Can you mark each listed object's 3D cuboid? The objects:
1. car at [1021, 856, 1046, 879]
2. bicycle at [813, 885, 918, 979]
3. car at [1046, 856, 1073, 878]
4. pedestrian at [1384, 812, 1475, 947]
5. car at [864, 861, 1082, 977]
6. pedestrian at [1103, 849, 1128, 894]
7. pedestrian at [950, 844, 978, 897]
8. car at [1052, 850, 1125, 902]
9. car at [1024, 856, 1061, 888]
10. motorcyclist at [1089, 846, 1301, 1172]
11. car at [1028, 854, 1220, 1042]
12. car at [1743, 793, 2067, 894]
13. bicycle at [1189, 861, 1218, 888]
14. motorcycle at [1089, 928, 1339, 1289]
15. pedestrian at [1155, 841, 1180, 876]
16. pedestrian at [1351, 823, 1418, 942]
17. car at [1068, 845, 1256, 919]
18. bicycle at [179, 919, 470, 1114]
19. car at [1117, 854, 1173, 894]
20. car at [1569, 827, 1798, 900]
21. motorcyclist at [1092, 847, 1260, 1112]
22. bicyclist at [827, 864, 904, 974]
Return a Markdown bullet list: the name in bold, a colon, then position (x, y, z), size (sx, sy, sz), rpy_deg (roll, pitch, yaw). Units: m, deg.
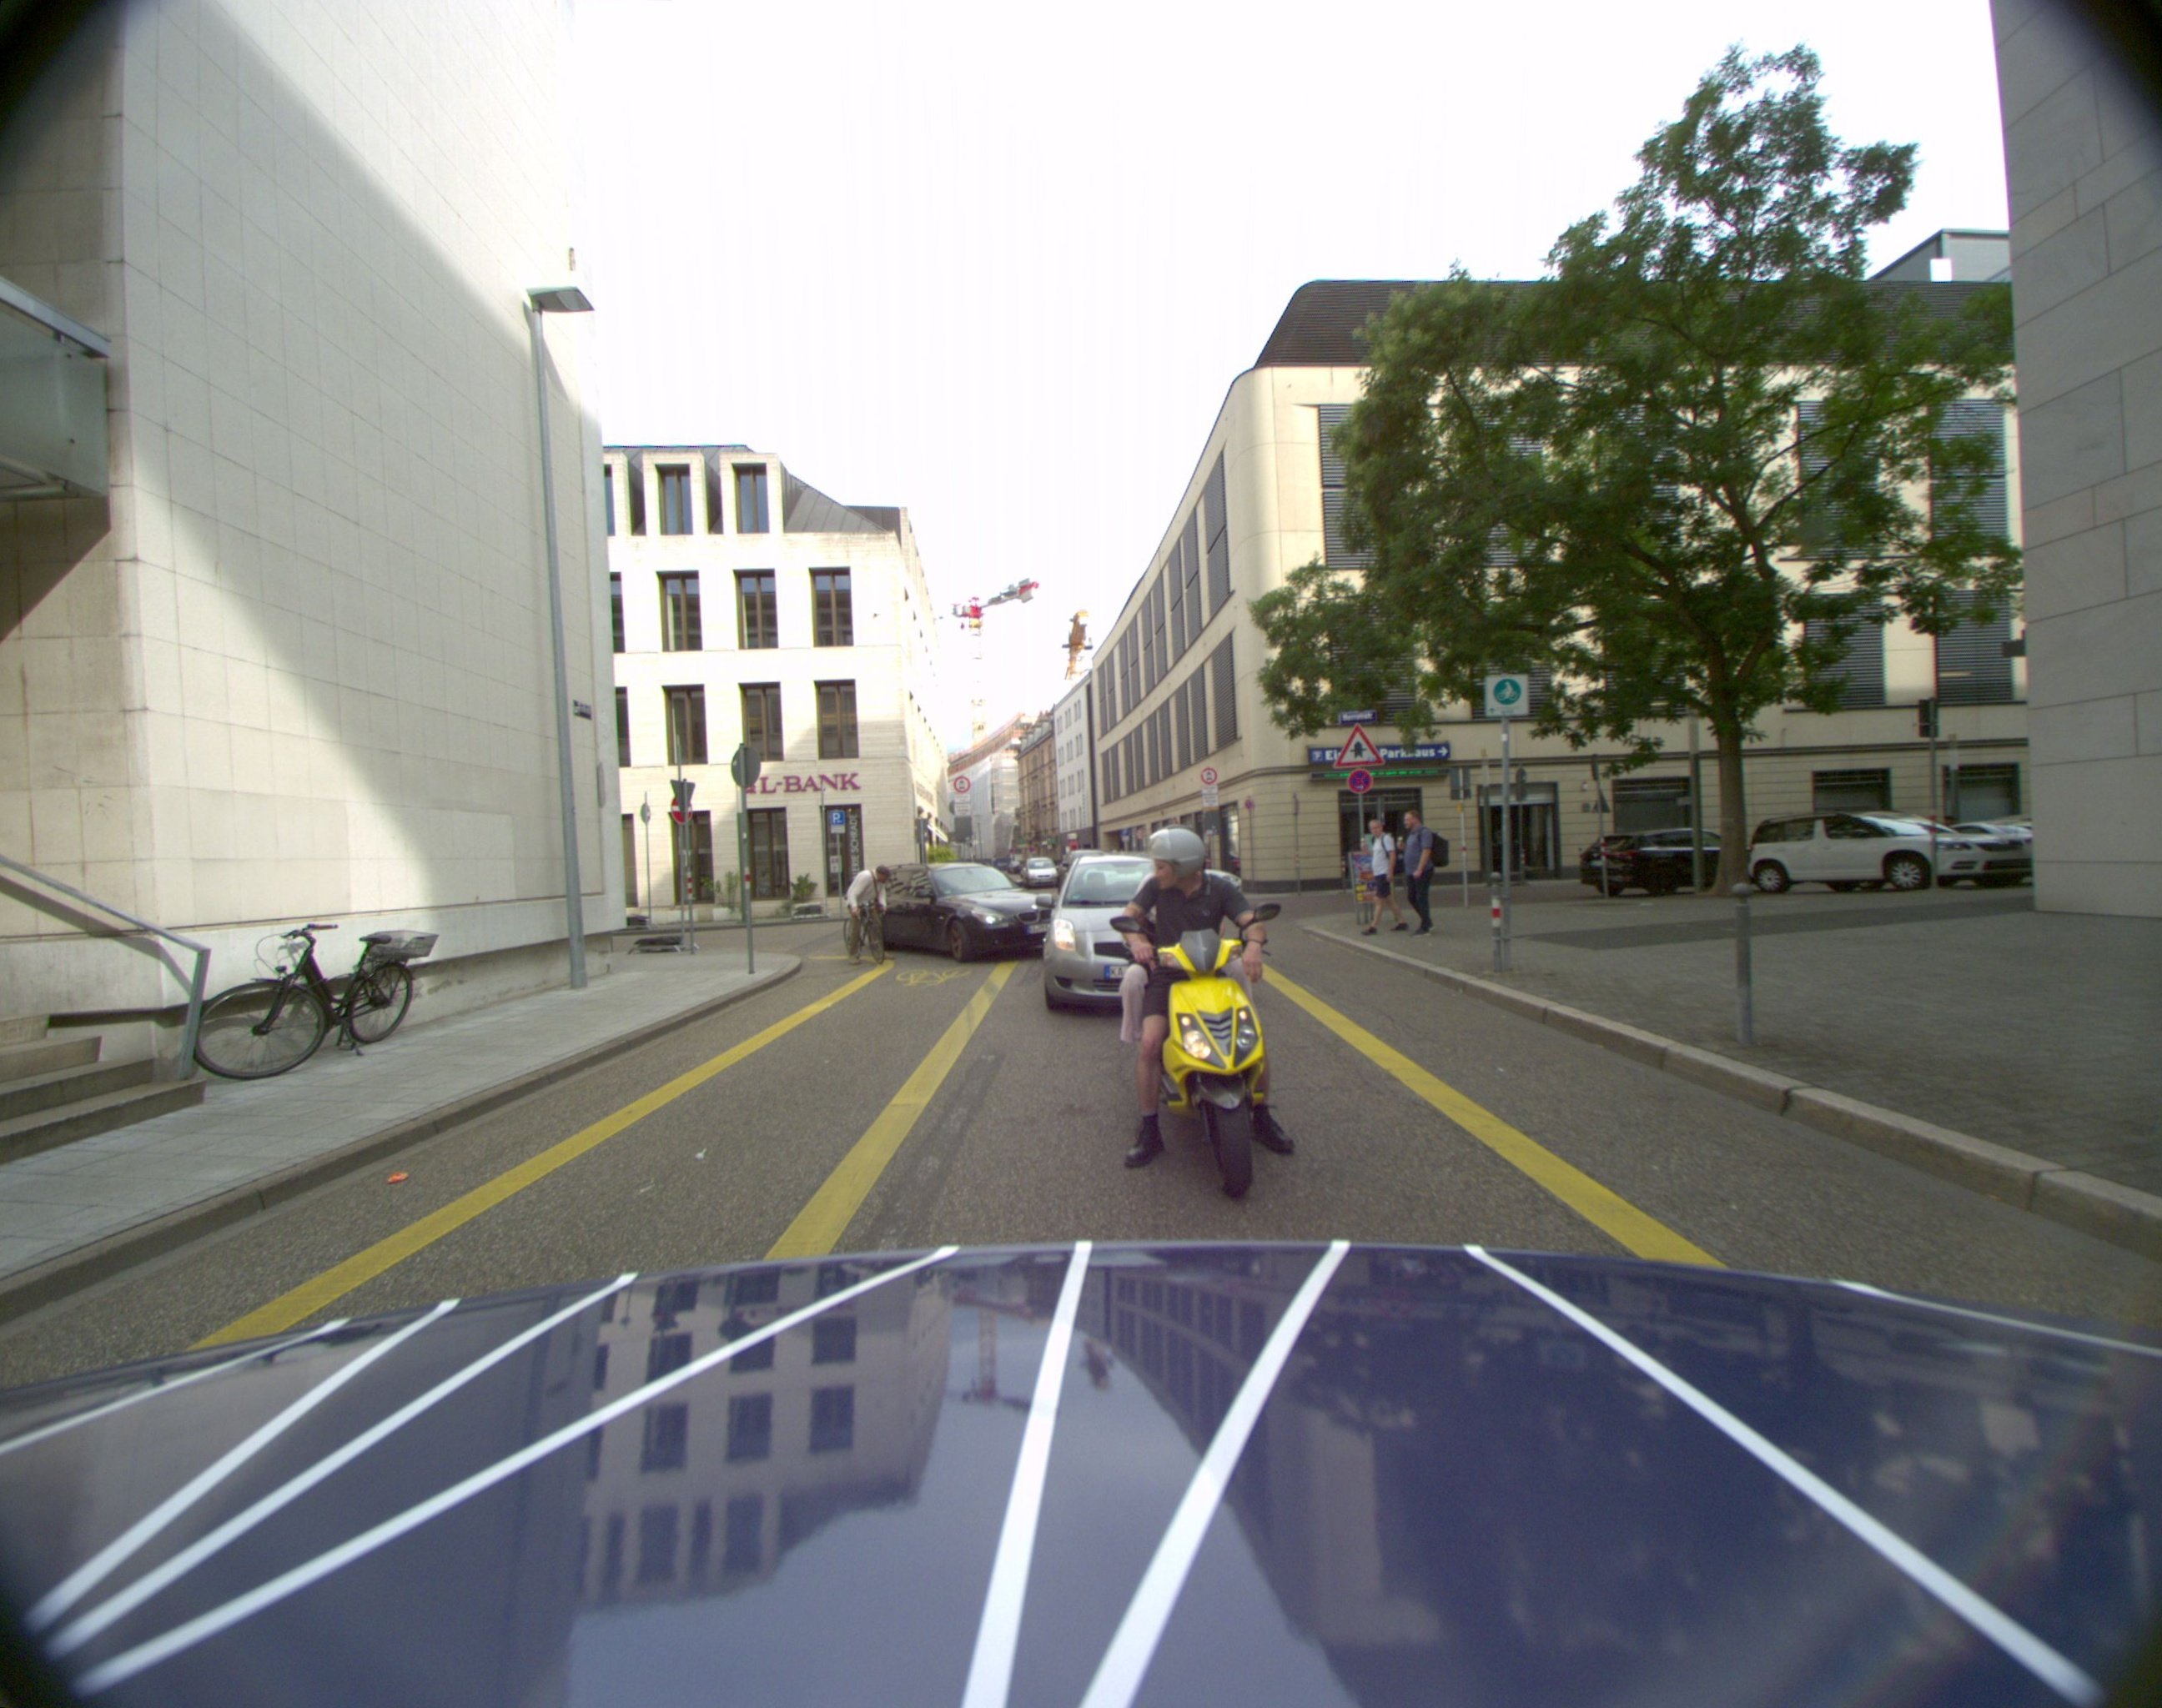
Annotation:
- **car**: position (-3.504, 0.962, 55.566), size (1.589, 1.477, 3.997), rpy_deg (-2, 1, -6)
- **bicycle**: position (-3.478, 1.146, 12.006), size (0.872, 1.188, 2.857), rpy_deg (-3, 1, -30)
- **car**: position (-1.592, 0.943, 55.655), size (1.563, 1.475, 3.984), rpy_deg (-3, 1, -7)
- **pedestrian**: position (5.017, 0.356, 10.969), size (0.745, 1.804, 0.756), rpy_deg (-6, 1, -11)
- **car**: position (-1.864, 0.920, 12.190), size (1.720, 1.482, 3.755), rpy_deg (-3, 1, -38)
- **pedestrian**: position (1.439, 0.723, 31.865), size (0.862, 1.820, 0.773), rpy_deg (-2, 1, -7)
- **pedestrian**: position (-4.188, 0.582, 27.133), size (0.774, 1.820, 0.860), rpy_deg (-3, 1, -20)
- **car**: position (0.156, 0.646, 24.914), size (1.710, 1.482, 4.100), rpy_deg (-3, 1, -8)
- **car**: position (-2.091, 0.910, 40.369), size (1.563, 1.547, 4.100), rpy_deg (-3, 1, -7)
- **motorcyclist**: position (0.517, 0.692, 3.913), size (0.924, 1.445, 1.065), rpy_deg (-1, 0, 1)
- **car**: position (0.424, 0.802, 8.326), size (1.562, 1.482, 3.784), rpy_deg (-3, 1, 2)
- **car**: position (15.903, -0.084, 15.053), size (1.899, 1.682, 3.964), rpy_deg (-2, -3, -3)
- **bicycle**: position (5.344, 0.870, 33.278), size (0.692, 1.038, 2.543), rpy_deg (-2, 1, -4)
- **motorcycle**: position (0.522, 1.066, 3.932), size (0.929, 1.158, 2.127), rpy_deg (-1, 0, 1)
- **pedestrian**: position (4.631, 0.240, 40.792), size (0.892, 1.755, 1.060), rpy_deg (-6, 1, -8)
- **pedestrian**: position (4.664, 0.430, 11.707), size (0.644, 1.755, 0.653), rpy_deg (-2, 1, -11)
- **car**: position (1.887, 0.642, 18.676), size (4.364, 1.572, 1.814), rpy_deg (-2, 1, -2)
- **bicycle**: position (-5.997, 1.211, 6.203), size (0.590, 1.160, 1.814), rpy_deg (-2, 1, -4)
- **car**: position (2.708, 0.798, 33.122), size (1.563, 1.547, 4.100), rpy_deg (-3, 1, -7)
- **car**: position (15.111, 0.257, 19.218), size (4.364, 1.591, 1.815), rpy_deg (-2, -1, -2)
- **motorcyclist**: position (0.525, 0.689, 4.524), size (0.903, 1.445, 0.742), rpy_deg (-1, 0, 1)
- **bicyclist**: position (-3.342, 0.962, 11.775), size (0.894, 1.585, 0.875), rpy_deg (-3, 1, -30)
